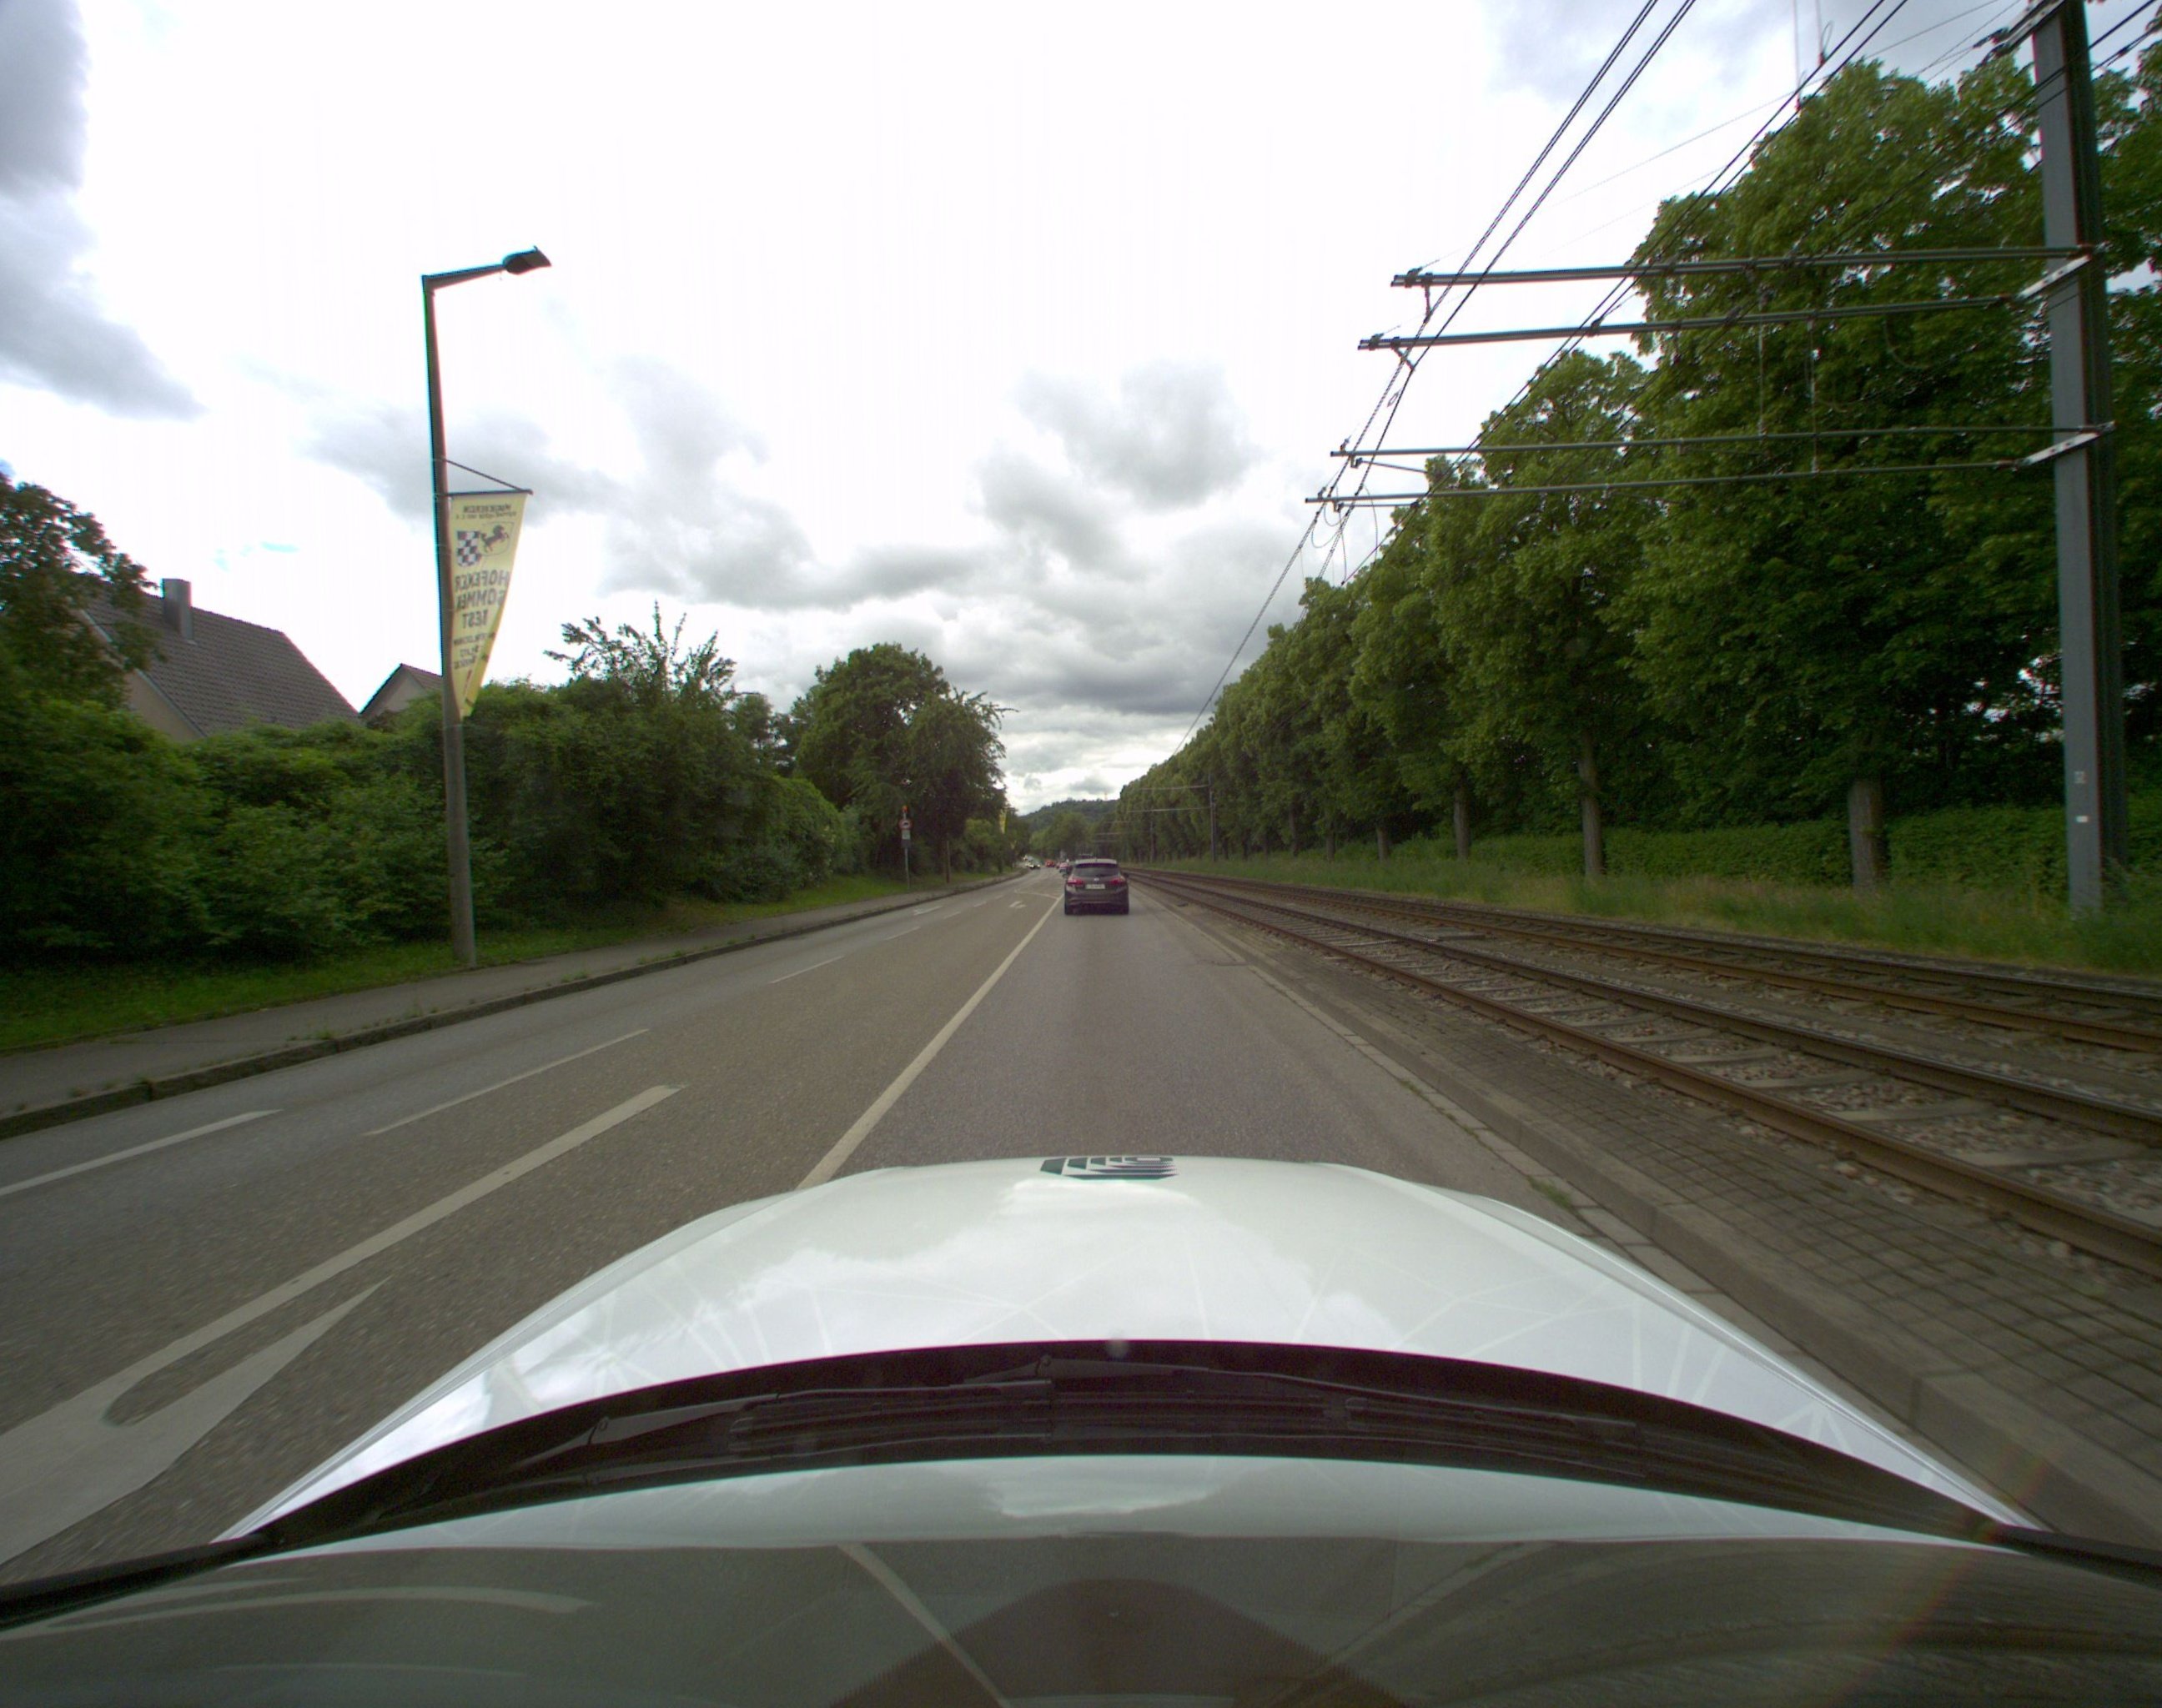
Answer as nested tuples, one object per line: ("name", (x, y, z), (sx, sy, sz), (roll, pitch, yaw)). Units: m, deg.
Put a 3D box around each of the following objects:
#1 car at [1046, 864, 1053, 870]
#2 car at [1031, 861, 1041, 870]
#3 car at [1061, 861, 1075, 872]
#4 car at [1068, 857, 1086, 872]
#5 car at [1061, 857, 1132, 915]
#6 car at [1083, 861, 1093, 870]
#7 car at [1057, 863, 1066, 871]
("car", (-8.950, 3.629, 230.885), (1.694, 1.714, 4.000), (-1, -1, 0))
("car", (-10.070, 2.562, 180.954), (1.988, 2.036, 5.112), (-3, -1, -2))
("car", (-1.782, 1.785, 112.408), (1.694, 1.443, 4.000), (-1, -1, 0))
("car", (-0.392, 1.041, 80.307), (1.694, 1.443, 3.999), (-1, -1, 0))
("car", (0.466, 0.859, 23.544), (1.844, 1.493, 4.001), (-1, 0, 1))
("car", (1.158, 1.918, 135.917), (1.694, 1.443, 4.000), (-1, -1, 0))
("car", (-4.101, 2.746, 173.910), (1.788, 1.510, 4.000), (-1, -1, 0))
